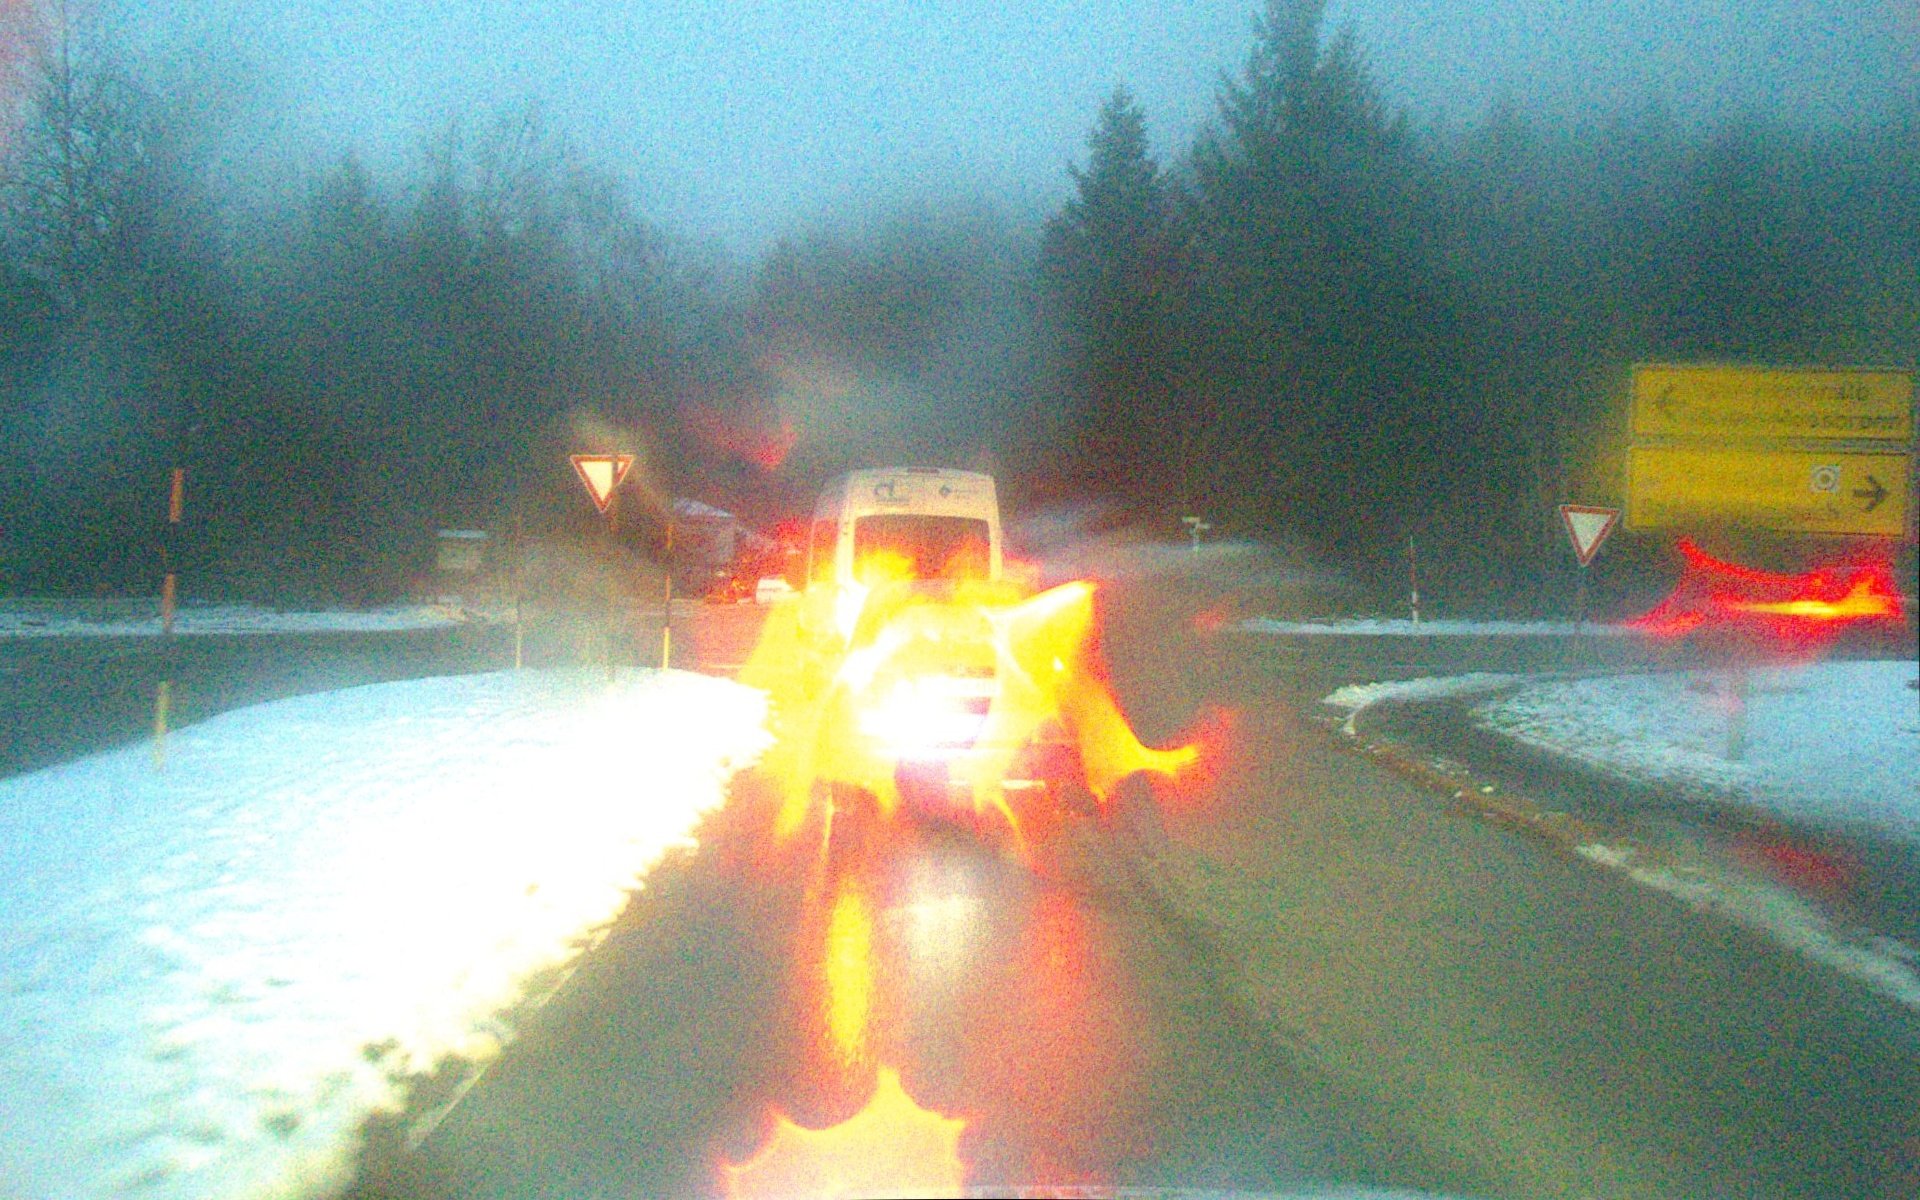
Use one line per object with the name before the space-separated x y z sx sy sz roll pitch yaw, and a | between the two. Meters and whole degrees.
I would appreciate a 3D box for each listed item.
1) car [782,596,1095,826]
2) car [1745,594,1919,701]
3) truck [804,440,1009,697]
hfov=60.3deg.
car | -0.184 0.675 12.060 1.883 1.299 3.999 1 1 -2
car | 18.255 0.949 32.752 4.917 1.979 1.679 2 -1 -13
truck | -0.832 -0.342 20.958 2.036 2.794 5.310 2 0 -7
